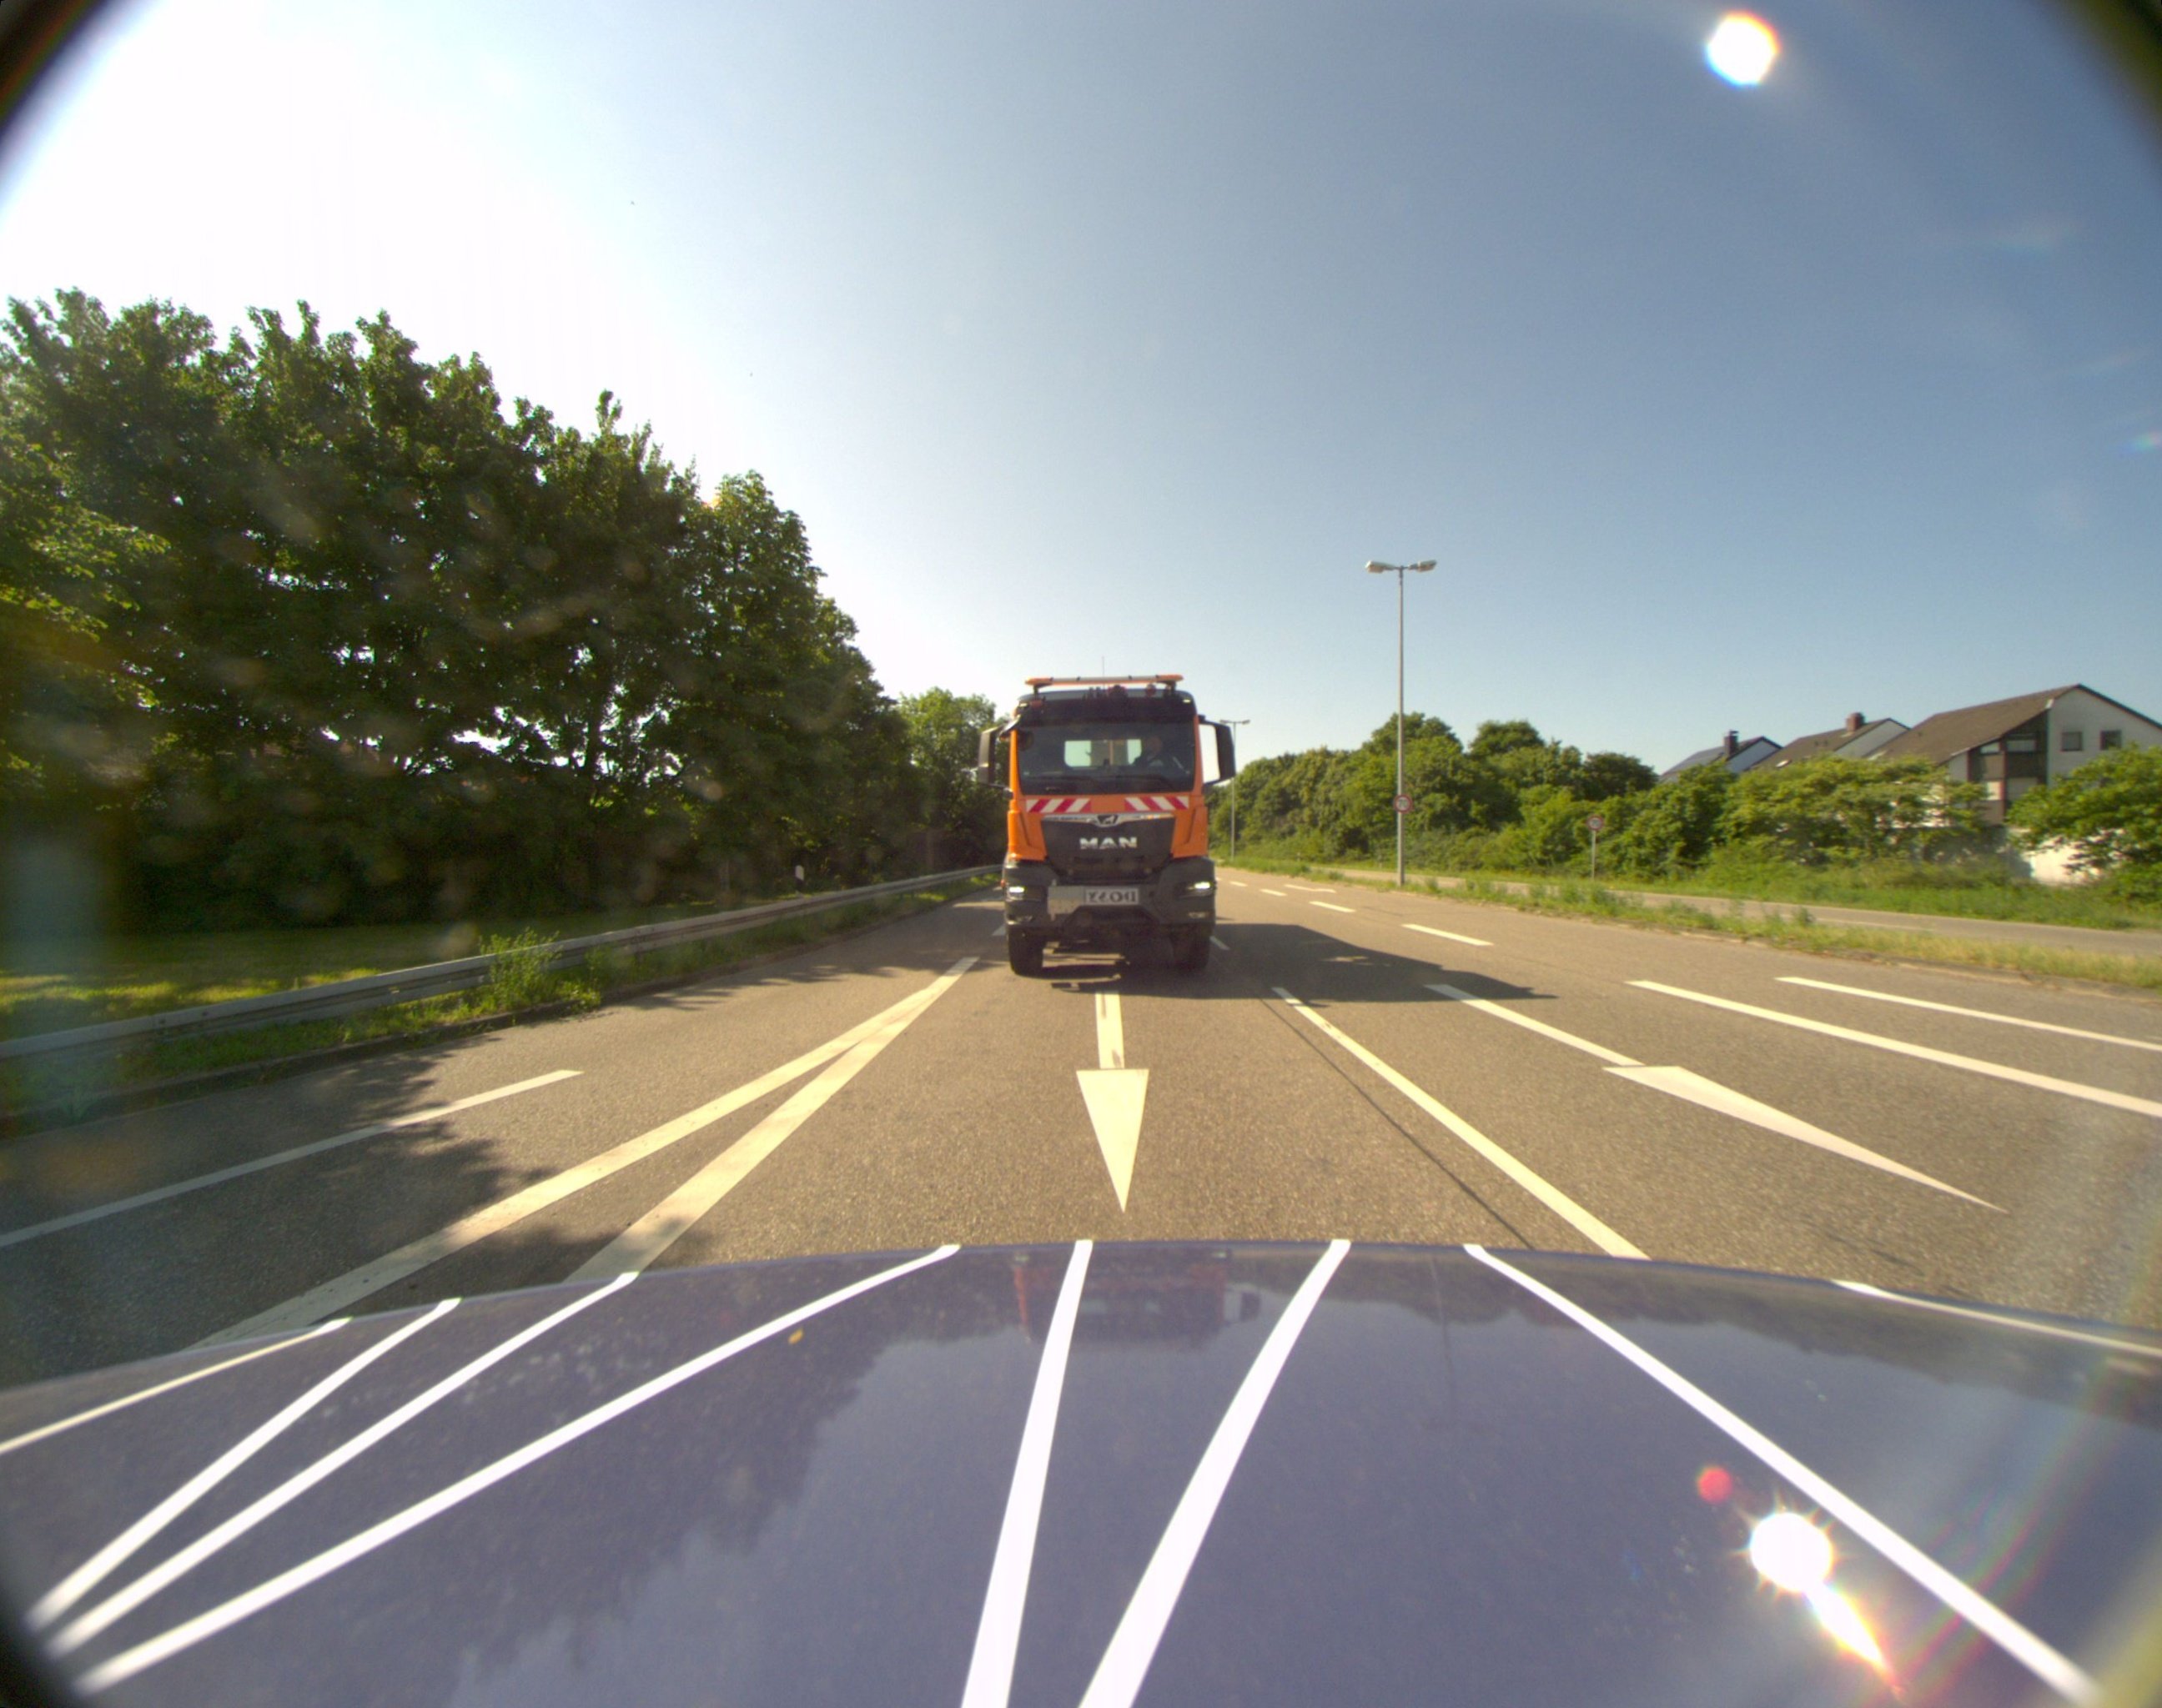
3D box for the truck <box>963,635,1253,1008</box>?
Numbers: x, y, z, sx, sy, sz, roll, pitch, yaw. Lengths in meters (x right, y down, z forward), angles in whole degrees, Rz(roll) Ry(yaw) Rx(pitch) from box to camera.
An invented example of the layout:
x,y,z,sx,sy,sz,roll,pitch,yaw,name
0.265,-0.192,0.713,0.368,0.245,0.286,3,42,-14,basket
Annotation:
x,y,z,sx,sy,sz,roll,pitch,yaw,name
0.407,-0.392,11.349,2.940,3.853,6.590,-2,1,2,truck
